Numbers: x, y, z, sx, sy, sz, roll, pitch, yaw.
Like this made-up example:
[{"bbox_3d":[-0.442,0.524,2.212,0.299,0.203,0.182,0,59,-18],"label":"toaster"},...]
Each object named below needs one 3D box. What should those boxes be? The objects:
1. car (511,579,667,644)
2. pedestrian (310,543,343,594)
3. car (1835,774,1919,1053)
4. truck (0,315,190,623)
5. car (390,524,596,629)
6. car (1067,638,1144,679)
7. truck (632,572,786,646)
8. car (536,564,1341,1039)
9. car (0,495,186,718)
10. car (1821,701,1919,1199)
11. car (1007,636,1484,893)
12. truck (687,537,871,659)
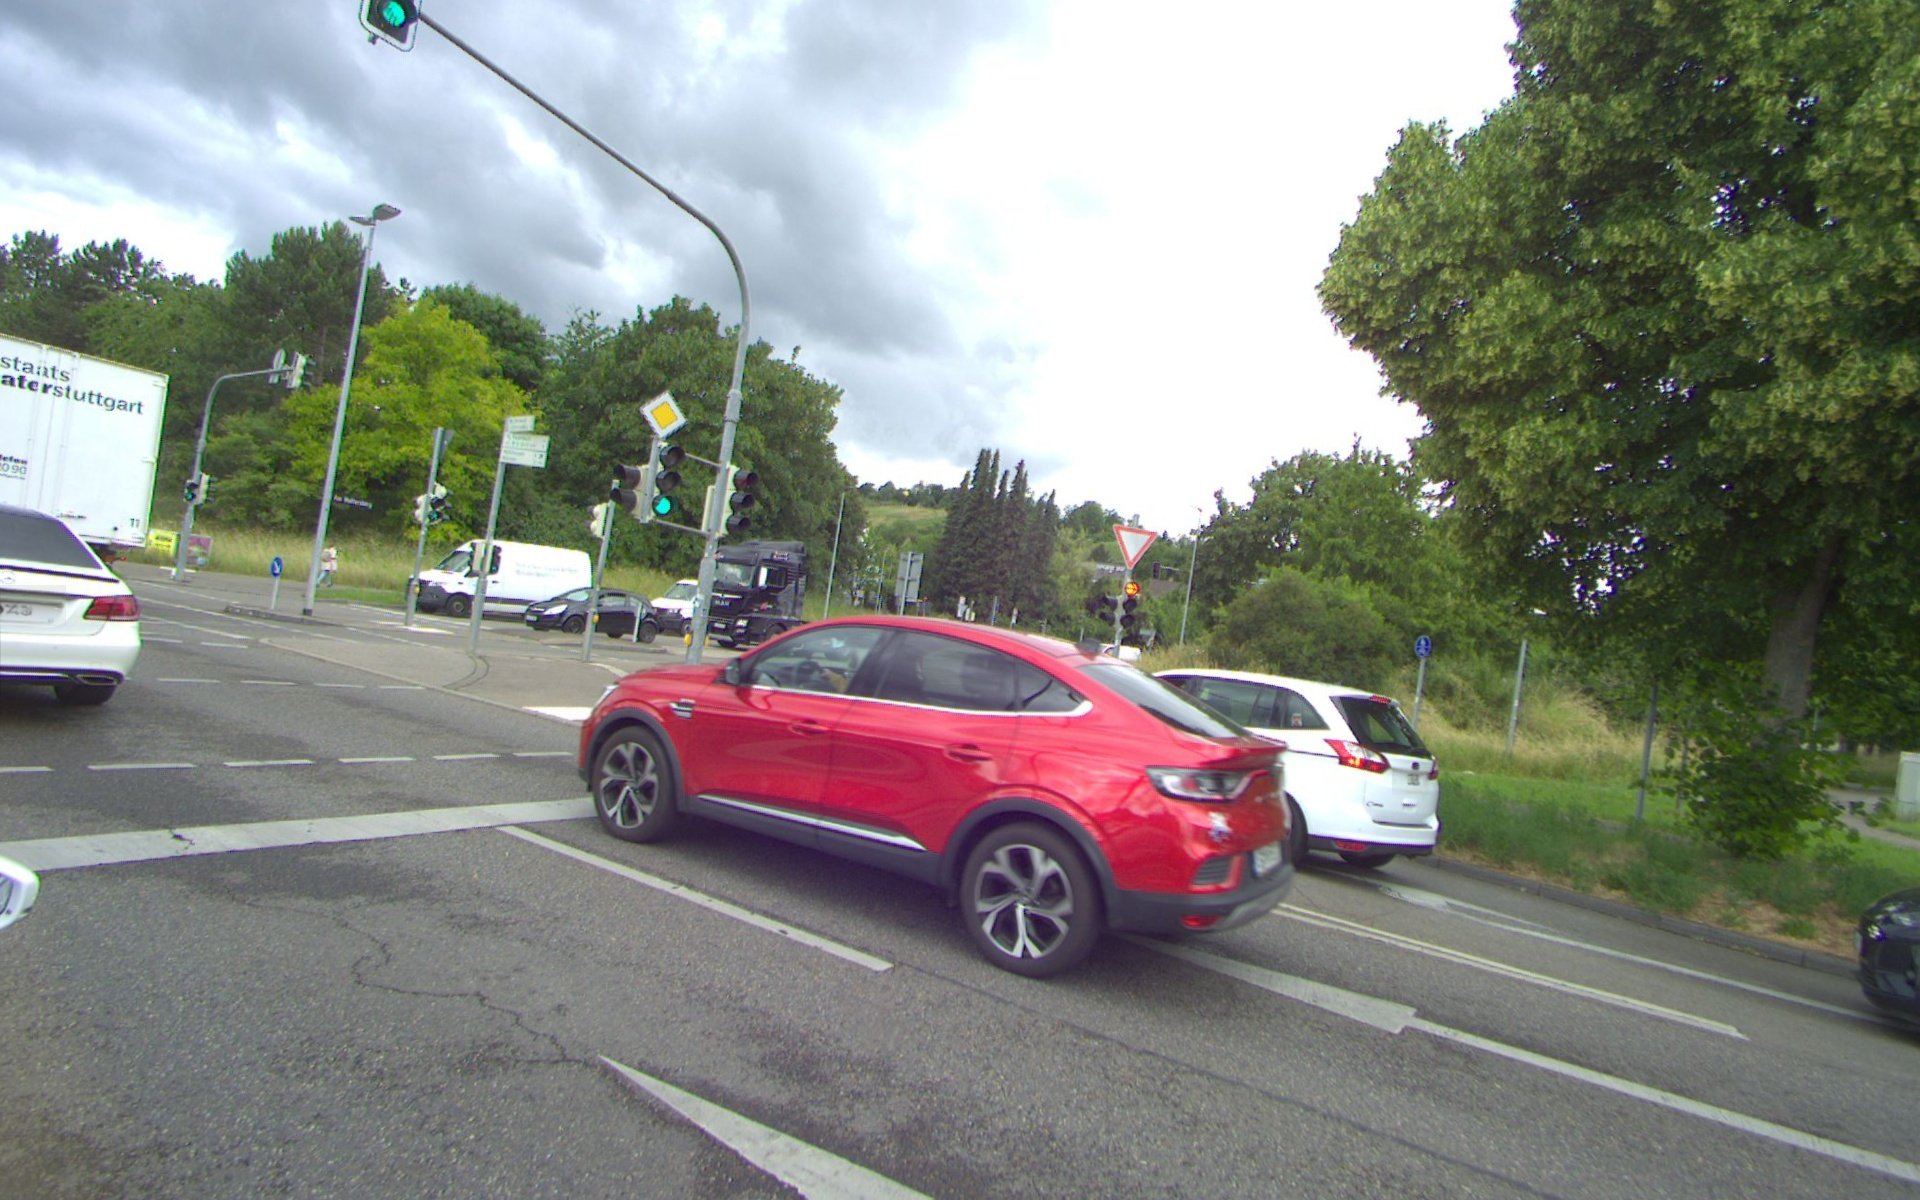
[{"bbox_3d":[-10.565,0.370,28.889,1.669,1.353,3.882,6,-3,34],"label":"car"},{"bbox_3d":[-21.279,-1.062,33.788,0.642,1.630,0.705,8,-1,-44],"label":"pedestrian"},{"bbox_3d":[7.132,2.029,5.353,3.511,1.521,1.605,6,-5,38],"label":"car"},{"bbox_3d":[-16.880,-2.285,16.616,10.011,3.949,2.808,7,-1,31],"label":"truck"},{"bbox_3d":[-15.371,-0.674,33.516,1.968,2.660,5.814,6,-2,34],"label":"car"},{"bbox_3d":[9.078,3.647,62.617,4.932,1.927,1.976,9,-3,-43],"label":"car"},{"bbox_3d":[-10.162,0.435,41.249,2.128,2.255,6.028,6,-2,35],"label":"truck"},{"bbox_3d":[-0.262,0.857,5.949,4.304,1.548,1.851,7,-2,32],"label":"car"},{"bbox_3d":[-7.959,-0.141,7.624,4.245,1.428,1.803,6,-2,31],"label":"car"},{"bbox_3d":[3.271,1.134,0.577,3.930,1.617,1.668,6,-2,31],"label":"car"},{"bbox_3d":[2.634,1.495,10.239,1.752,1.673,4.325,10,-3,-37],"label":"car"},{"bbox_3d":[-6.196,0.051,35.342,2.648,3.527,6.004,6,-1,34],"label":"truck"}]
